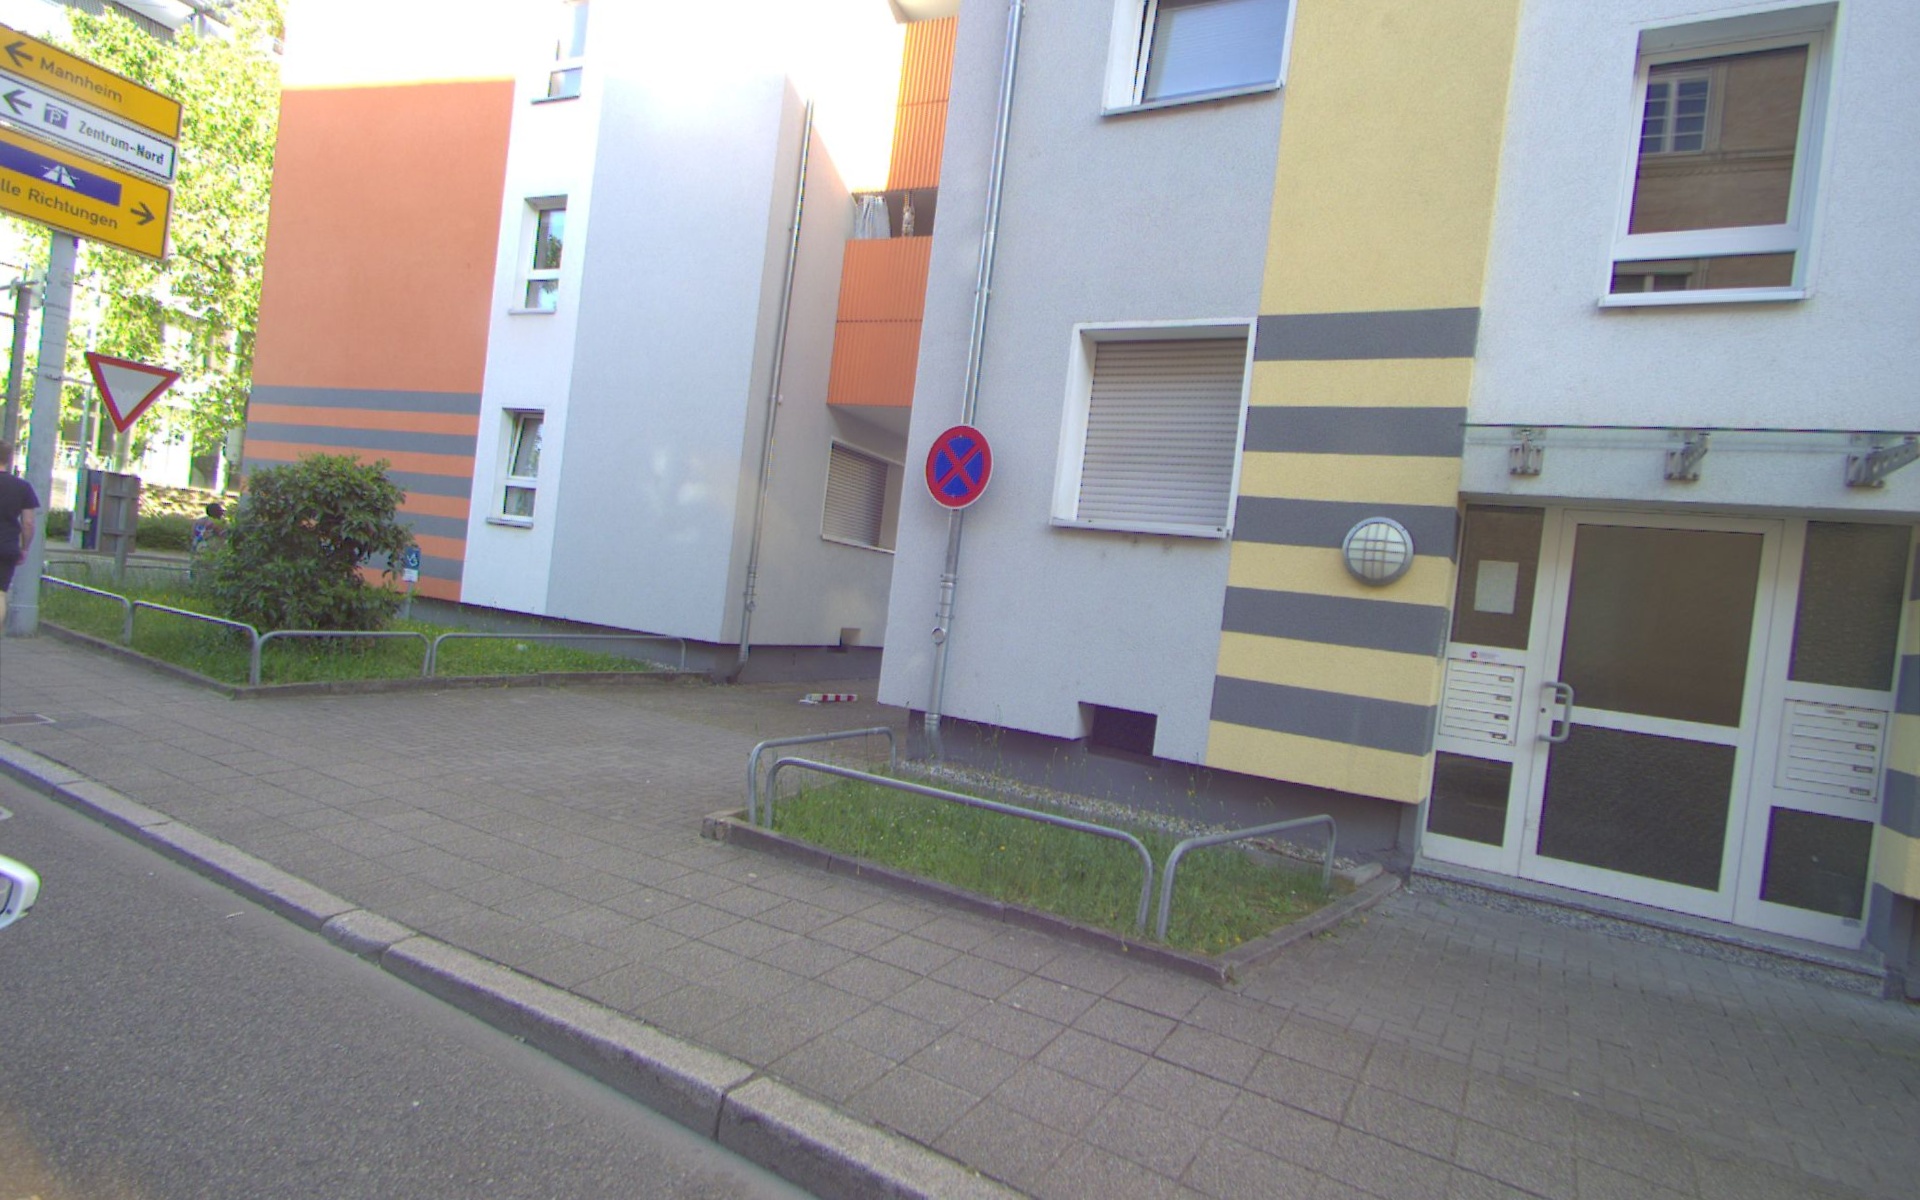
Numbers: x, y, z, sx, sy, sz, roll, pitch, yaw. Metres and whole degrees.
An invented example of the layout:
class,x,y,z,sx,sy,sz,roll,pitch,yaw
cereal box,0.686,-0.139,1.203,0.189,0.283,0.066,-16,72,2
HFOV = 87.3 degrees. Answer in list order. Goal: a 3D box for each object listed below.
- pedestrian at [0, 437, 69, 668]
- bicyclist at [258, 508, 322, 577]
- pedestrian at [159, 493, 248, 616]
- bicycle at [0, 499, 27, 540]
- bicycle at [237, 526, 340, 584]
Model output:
class,x,y,z,sx,sy,sz,roll,pitch,yaw
pedestrian,-8.011,-0.412,8.255,0.708,1.831,0.701,7,-1,31
bicyclist,-16.604,-1.423,24.956,0.583,1.546,1.075,8,1,37
pedestrian,-12.031,-0.693,16.029,0.690,1.831,0.719,7,-1,-9
bicycle,-26.391,-2.254,27.392,1.409,1.021,0.379,7,1,-11
bicycle,-16.631,-1.104,24.964,0.583,1.166,1.963,7,0,37
